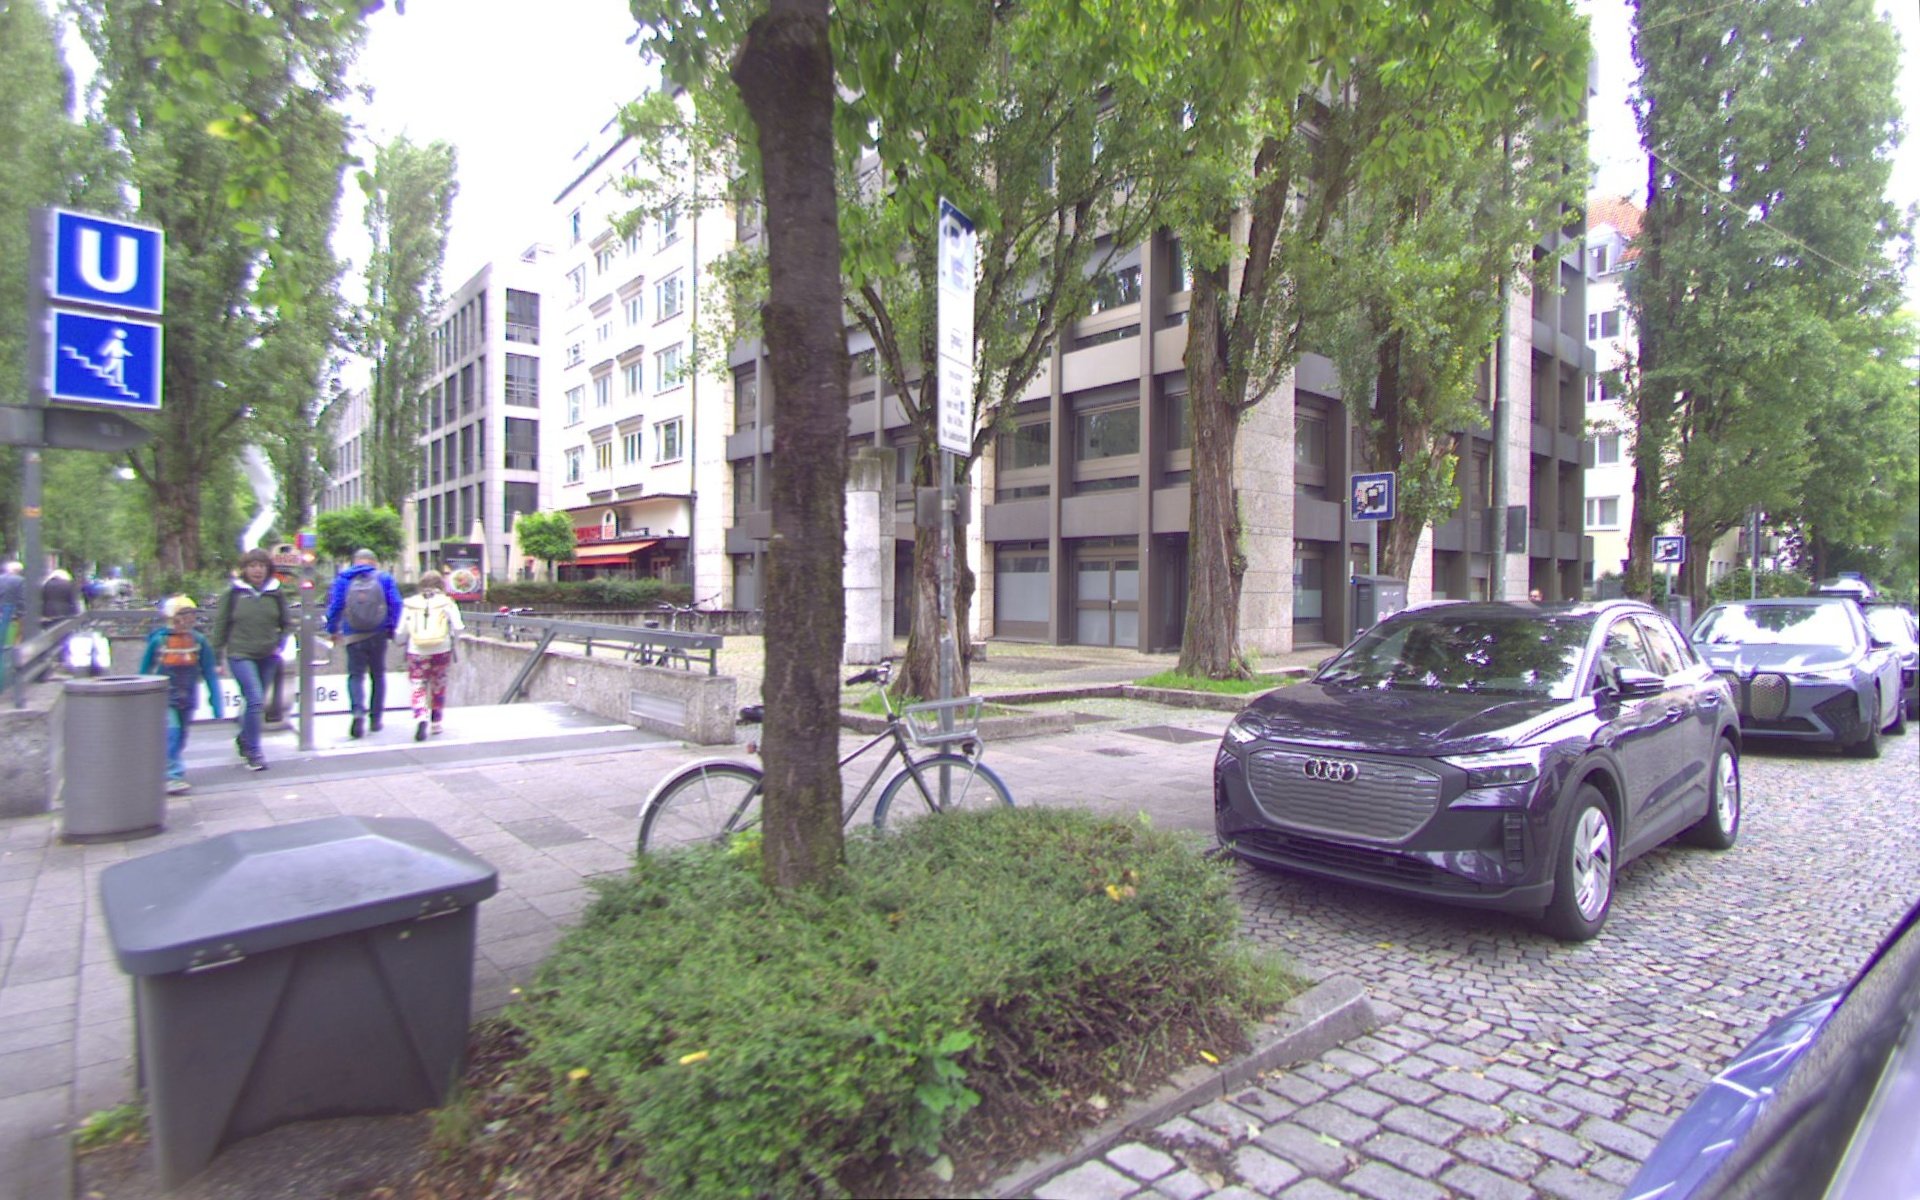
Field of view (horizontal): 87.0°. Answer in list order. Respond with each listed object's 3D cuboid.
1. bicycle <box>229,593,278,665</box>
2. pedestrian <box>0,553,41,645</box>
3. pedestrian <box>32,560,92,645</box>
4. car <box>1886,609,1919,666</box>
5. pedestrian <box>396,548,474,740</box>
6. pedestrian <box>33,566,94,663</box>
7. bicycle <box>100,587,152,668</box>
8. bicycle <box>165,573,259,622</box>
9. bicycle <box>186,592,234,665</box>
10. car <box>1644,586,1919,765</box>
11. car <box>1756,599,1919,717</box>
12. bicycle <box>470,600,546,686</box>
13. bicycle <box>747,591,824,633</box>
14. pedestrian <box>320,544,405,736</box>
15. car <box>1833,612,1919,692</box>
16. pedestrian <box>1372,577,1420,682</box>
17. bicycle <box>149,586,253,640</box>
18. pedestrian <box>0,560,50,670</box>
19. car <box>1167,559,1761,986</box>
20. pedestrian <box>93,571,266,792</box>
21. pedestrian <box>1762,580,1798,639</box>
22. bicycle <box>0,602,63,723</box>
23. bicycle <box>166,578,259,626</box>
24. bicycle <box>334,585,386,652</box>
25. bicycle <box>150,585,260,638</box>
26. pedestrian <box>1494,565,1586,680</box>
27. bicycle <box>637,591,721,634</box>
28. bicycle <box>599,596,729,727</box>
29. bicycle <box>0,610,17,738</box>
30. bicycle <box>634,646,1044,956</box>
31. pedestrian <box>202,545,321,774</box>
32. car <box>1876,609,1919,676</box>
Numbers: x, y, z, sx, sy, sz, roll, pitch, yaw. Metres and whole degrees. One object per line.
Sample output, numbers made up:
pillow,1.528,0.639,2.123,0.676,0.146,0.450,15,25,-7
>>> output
bicycle,-12.214,0.463,17.476,0.577,1.174,1.867,0,0,-39
pedestrian,-19.512,-0.023,20.919,0.687,1.864,0.706,0,0,-37
pedestrian,-20.529,0.057,23.159,0.901,1.890,1.014,0,0,-35
car,25.668,0.945,26.281,3.807,1.405,1.996,0,-1,-42
pedestrian,-4.927,0.385,9.478,0.598,1.701,0.846,1,0,-30
pedestrian,-15.553,0.237,17.580,0.685,1.626,0.833,0,0,-35
bicycle,-12.890,0.393,15.665,0.577,1.174,1.982,0,0,-39
bicycle,-18.285,-0.062,24.772,1.835,1.174,0.587,0,0,-38
bicycle,-12.683,0.448,17.094,0.577,1.174,1.867,0,0,-39
car,9.953,0.722,12.041,4.593,1.722,2.015,0,0,-43
car,14.123,0.793,15.816,4.268,1.603,1.996,0,0,-43
bicycle,-6.671,0.592,14.894,0.577,1.174,1.867,0,0,-39
bicycle,-5.046,0.331,29.383,2.206,1.170,0.647,0,0,-41
pedestrian,-5.648,0.353,9.577,0.651,1.718,0.807,1,0,-30
car,18.688,0.957,19.889,4.132,1.408,1.721,0,-2,-41
pedestrian,6.979,0.458,16.192,0.558,1.649,0.490,0,0,-38
bicycle,-16.917,0.277,22.594,1.835,1.174,0.587,0,0,-38
pedestrian,-16.048,0.251,17.203,0.736,1.826,0.843,0,0,-35
car,3.289,0.695,6.206,4.130,1.722,1.923,0,0,-43
pedestrian,-5.438,0.523,7.108,0.801,1.437,0.772,0,0,-25
pedestrian,21.850,0.250,26.966,0.697,1.556,0.644,0,0,-44
bicycle,-10.034,0.619,10.729,1.862,1.174,0.579,1,0,42
bicycle,-18.652,0.055,25.266,1.835,1.174,0.587,0,0,-38
bicycle,-11.044,0.312,18.601,0.577,1.174,1.867,0,0,-39
bicycle,-17.234,0.255,23.136,1.995,1.174,0.587,0,0,-38
pedestrian,9.113,0.340,15.920,0.893,1.735,0.871,0,0,-21
bicycle,-7.890,0.338,28.461,2.206,1.170,0.647,0,0,-41
bicycle,-3.278,0.615,11.103,0.709,1.293,1.867,0,0,-39
bicycle,-8.877,0.691,8.757,0.576,1.174,1.872,0,0,-28
bicycle,-0.498,0.819,4.653,1.839,1.151,0.476,0,0,-32
pedestrian,-5.525,0.445,8.044,0.650,1.722,0.692,1,0,-25
car,22.254,0.938,23.106,3.501,1.449,1.602,0,-2,-42
